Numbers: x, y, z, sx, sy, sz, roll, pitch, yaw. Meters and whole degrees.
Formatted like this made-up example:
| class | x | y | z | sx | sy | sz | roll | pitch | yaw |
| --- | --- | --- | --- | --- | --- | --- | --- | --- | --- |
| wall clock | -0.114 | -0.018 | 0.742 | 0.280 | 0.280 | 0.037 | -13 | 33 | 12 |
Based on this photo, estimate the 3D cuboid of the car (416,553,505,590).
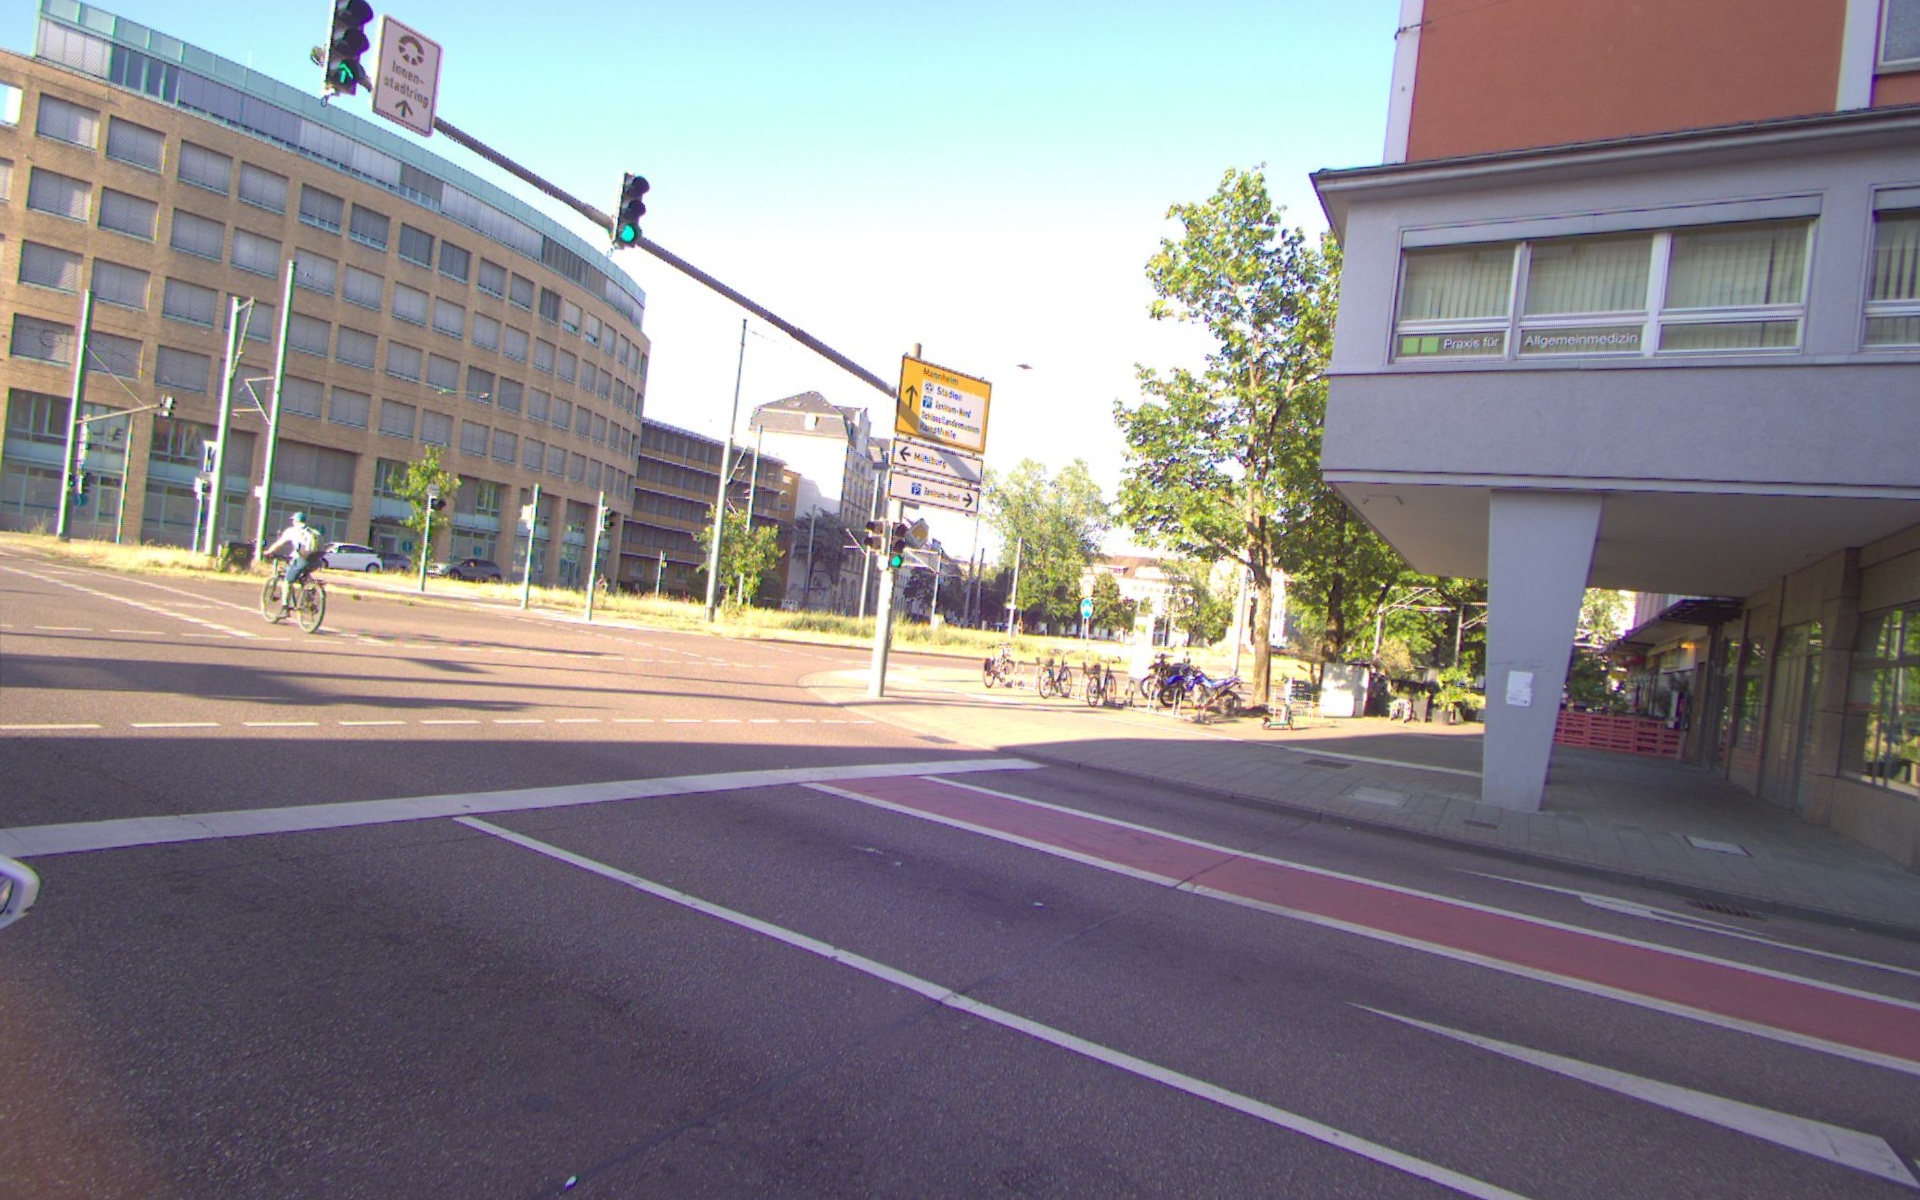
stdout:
| class | x | y | z | sx | sy | sz | roll | pitch | yaw |
| --- | --- | --- | --- | --- | --- | --- | --- | --- | --- |
| car | -27.787 | -1.580 | 56.101 | 1.790 | 1.509 | 4.059 | 6 | -1 | 30 |

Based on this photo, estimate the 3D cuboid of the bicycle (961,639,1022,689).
| class | x | y | z | sx | sy | sz | roll | pitch | yaw |
| --- | --- | --- | --- | --- | --- | --- | --- | --- | --- |
| bicycle | 0.810 | 1.578 | 24.917 | 0.584 | 1.129 | 1.974 | 7 | 1 | 28 |

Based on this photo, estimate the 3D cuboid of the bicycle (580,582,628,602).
| class | x | y | z | sx | sy | sz | roll | pitch | yaw |
| --- | --- | --- | --- | --- | --- | --- | --- | --- | --- |
| bicycle | -24.011 | -0.561 | 67.916 | 1.134 | 1.012 | 2.966 | 6 | -1 | 29 |

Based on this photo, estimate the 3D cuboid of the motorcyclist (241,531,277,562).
| class | x | y | z | sx | sy | sz | roll | pitch | yaw |
| --- | --- | --- | --- | --- | --- | --- | --- | --- | --- |
| motorcyclist | -36.018 | -2.749 | 51.705 | 1.014 | 1.453 | 1.067 | 6 | 0 | 30 |

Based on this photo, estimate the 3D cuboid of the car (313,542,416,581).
| class | x | y | z | sx | sy | sz | roll | pitch | yaw |
| --- | --- | --- | --- | --- | --- | --- | --- | --- | --- |
| car | -33.310 | -2.112 | 56.411 | 1.953 | 1.555 | 4.488 | 6 | -1 | 32 |

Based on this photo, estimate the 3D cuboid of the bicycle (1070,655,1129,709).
| class | x | y | z | sx | sy | sz | roll | pitch | yaw |
| --- | --- | --- | --- | --- | --- | --- | --- | --- | --- |
| bicycle | 3.275 | 1.891 | 23.480 | 0.583 | 1.129 | 2.058 | 7 | 1 | 28 |

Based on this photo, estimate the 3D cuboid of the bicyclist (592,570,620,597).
| class | x | y | z | sx | sy | sz | roll | pitch | yaw |
| --- | --- | --- | --- | --- | --- | --- | --- | --- | --- |
| bicyclist | -23.914 | -1.121 | 67.947 | 1.134 | 1.591 | 1.225 | 6 | 0 | 30 |

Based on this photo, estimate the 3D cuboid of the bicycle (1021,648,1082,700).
| class | x | y | z | sx | sy | sz | roll | pitch | yaw |
| --- | --- | --- | --- | --- | --- | --- | --- | --- | --- |
| bicycle | 2.202 | 1.755 | 24.096 | 0.584 | 1.129 | 2.003 | 7 | 1 | 29 |

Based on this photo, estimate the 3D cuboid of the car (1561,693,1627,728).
| class | x | y | z | sx | sy | sz | roll | pitch | yaw |
| --- | --- | --- | --- | --- | --- | --- | --- | --- | --- |
| car | 36.605 | 6.397 | 58.048 | 3.842 | 1.575 | 1.944 | 8 | -1 | -38 |

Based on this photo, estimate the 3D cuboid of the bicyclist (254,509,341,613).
| class | x | y | z | sx | sy | sz | roll | pitch | yaw |
| --- | --- | --- | --- | --- | --- | --- | --- | --- | --- |
| bicyclist | -9.793 | -0.576 | 14.868 | 0.914 | 1.385 | 0.593 | 7 | -1 | 32 |

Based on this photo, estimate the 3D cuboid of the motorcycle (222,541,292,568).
| class | x | y | z | sx | sy | sz | roll | pitch | yaw |
| --- | --- | --- | --- | --- | --- | --- | --- | --- | --- |
| motorcycle | -36.072 | -2.318 | 51.694 | 1.014 | 0.975 | 2.722 | 6 | -1 | 30 |

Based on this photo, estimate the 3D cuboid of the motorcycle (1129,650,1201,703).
| class | x | y | z | sx | sy | sz | roll | pitch | yaw |
| --- | --- | --- | --- | --- | --- | --- | --- | --- | --- |
| motorcycle | 5.764 | 2.157 | 28.266 | 2.044 | 1.324 | 0.879 | 7 | -1 | -44 |

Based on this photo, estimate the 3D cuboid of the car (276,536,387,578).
| class | x | y | z | sx | sy | sz | roll | pitch | yaw |
| --- | --- | --- | --- | --- | --- | --- | --- | --- | --- |
| car | -31.228 | -2.126 | 50.126 | 1.961 | 1.509 | 4.171 | 6 | -1 | 29 |

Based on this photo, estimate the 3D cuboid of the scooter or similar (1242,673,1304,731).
| class | x | y | z | sx | sy | sz | roll | pitch | yaw |
| --- | --- | --- | --- | --- | --- | --- | --- | --- | --- |
| scooter or similar | 7.172 | 2.342 | 23.001 | 1.549 | 1.251 | 0.479 | 6 | 1 | -40 |

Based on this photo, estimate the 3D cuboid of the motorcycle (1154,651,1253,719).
| class | x | y | z | sx | sy | sz | roll | pitch | yaw |
| --- | --- | --- | --- | --- | --- | --- | --- | --- | --- |
| motorcycle | 6.175 | 2.135 | 25.465 | 2.224 | 1.409 | 0.844 | 7 | -1 | 19 |

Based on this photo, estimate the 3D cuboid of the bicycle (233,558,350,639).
| class | x | y | z | sx | sy | sz | roll | pitch | yaw |
| --- | --- | --- | --- | --- | --- | --- | --- | --- | --- |
| bicycle | -9.901 | -0.038 | 14.876 | 1.945 | 0.954 | 0.593 | 7 | -2 | 32 |
